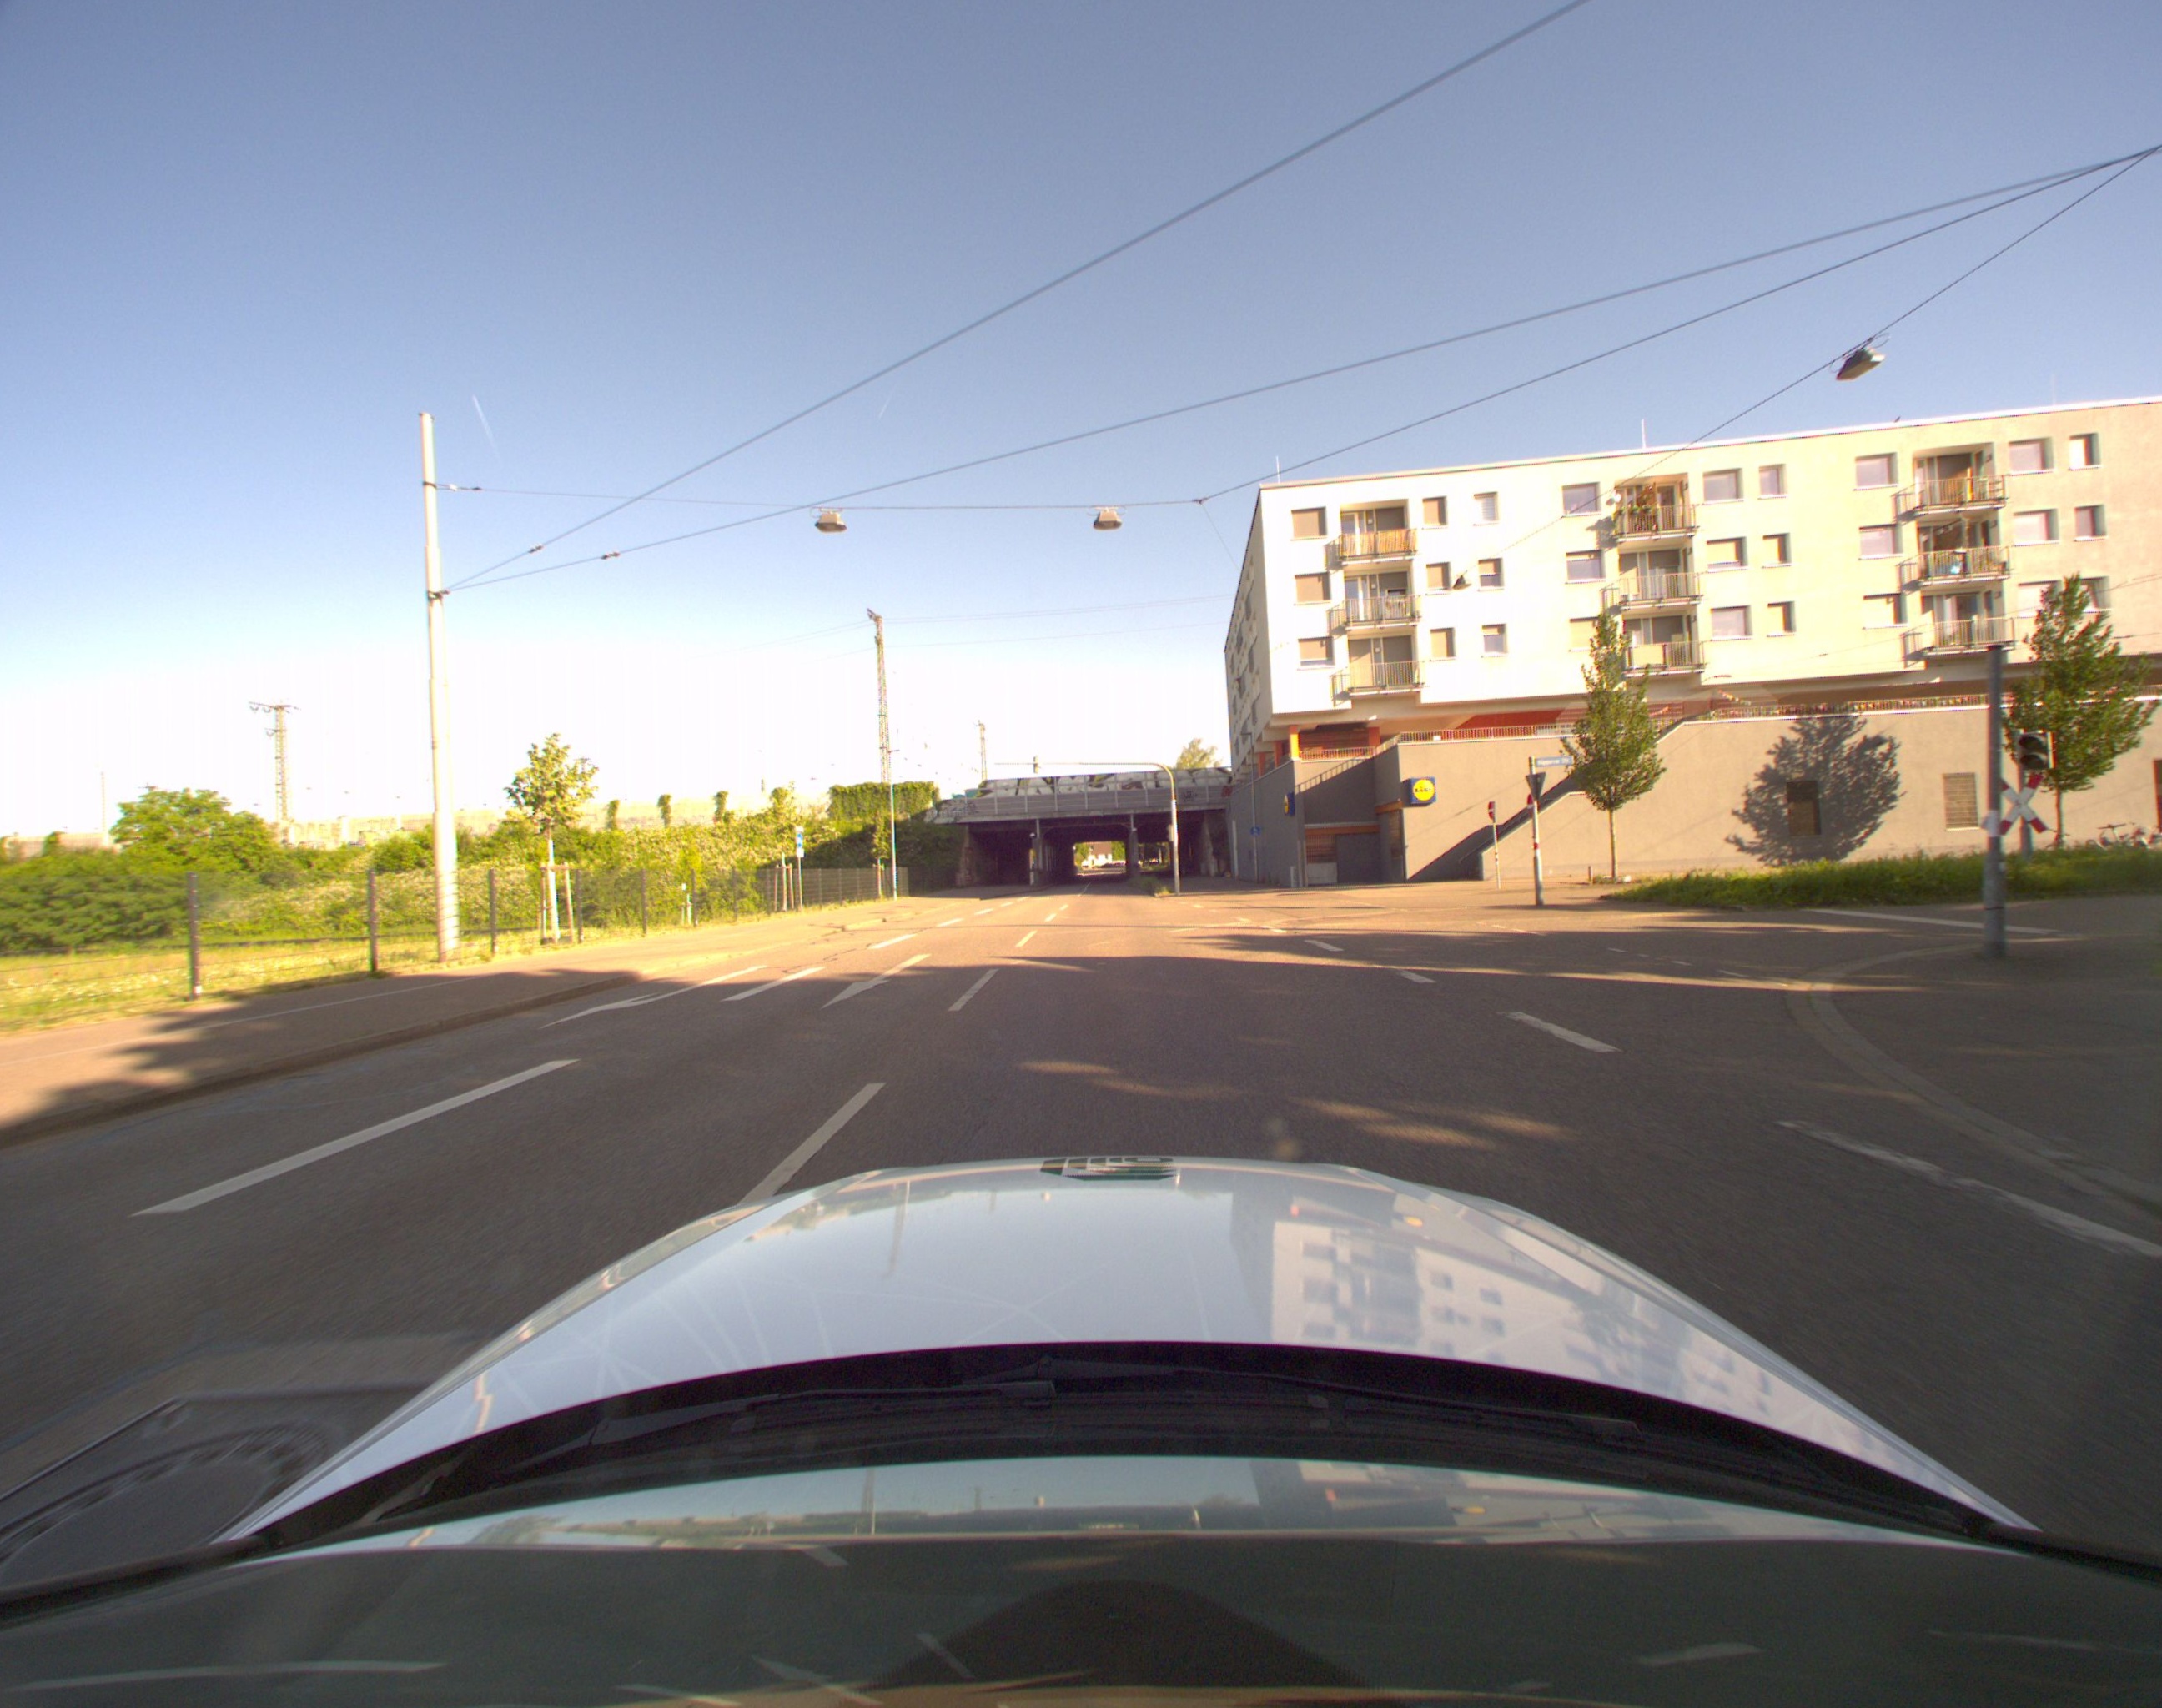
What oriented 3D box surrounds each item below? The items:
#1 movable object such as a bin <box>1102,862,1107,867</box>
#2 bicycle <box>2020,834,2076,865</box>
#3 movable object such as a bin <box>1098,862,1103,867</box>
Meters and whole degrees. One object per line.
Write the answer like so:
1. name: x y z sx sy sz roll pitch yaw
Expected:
1. movable object such as a bin: 7.019 3.114 239.178 1.362 1.418 1.063 -1 -2 -5
2. bicycle: 31.822 -0.126 26.833 0.477 0.970 1.460 -2 -2 19
3. movable object such as a bin: 5.631 3.132 239.037 1.362 1.418 1.063 -1 -2 -5
